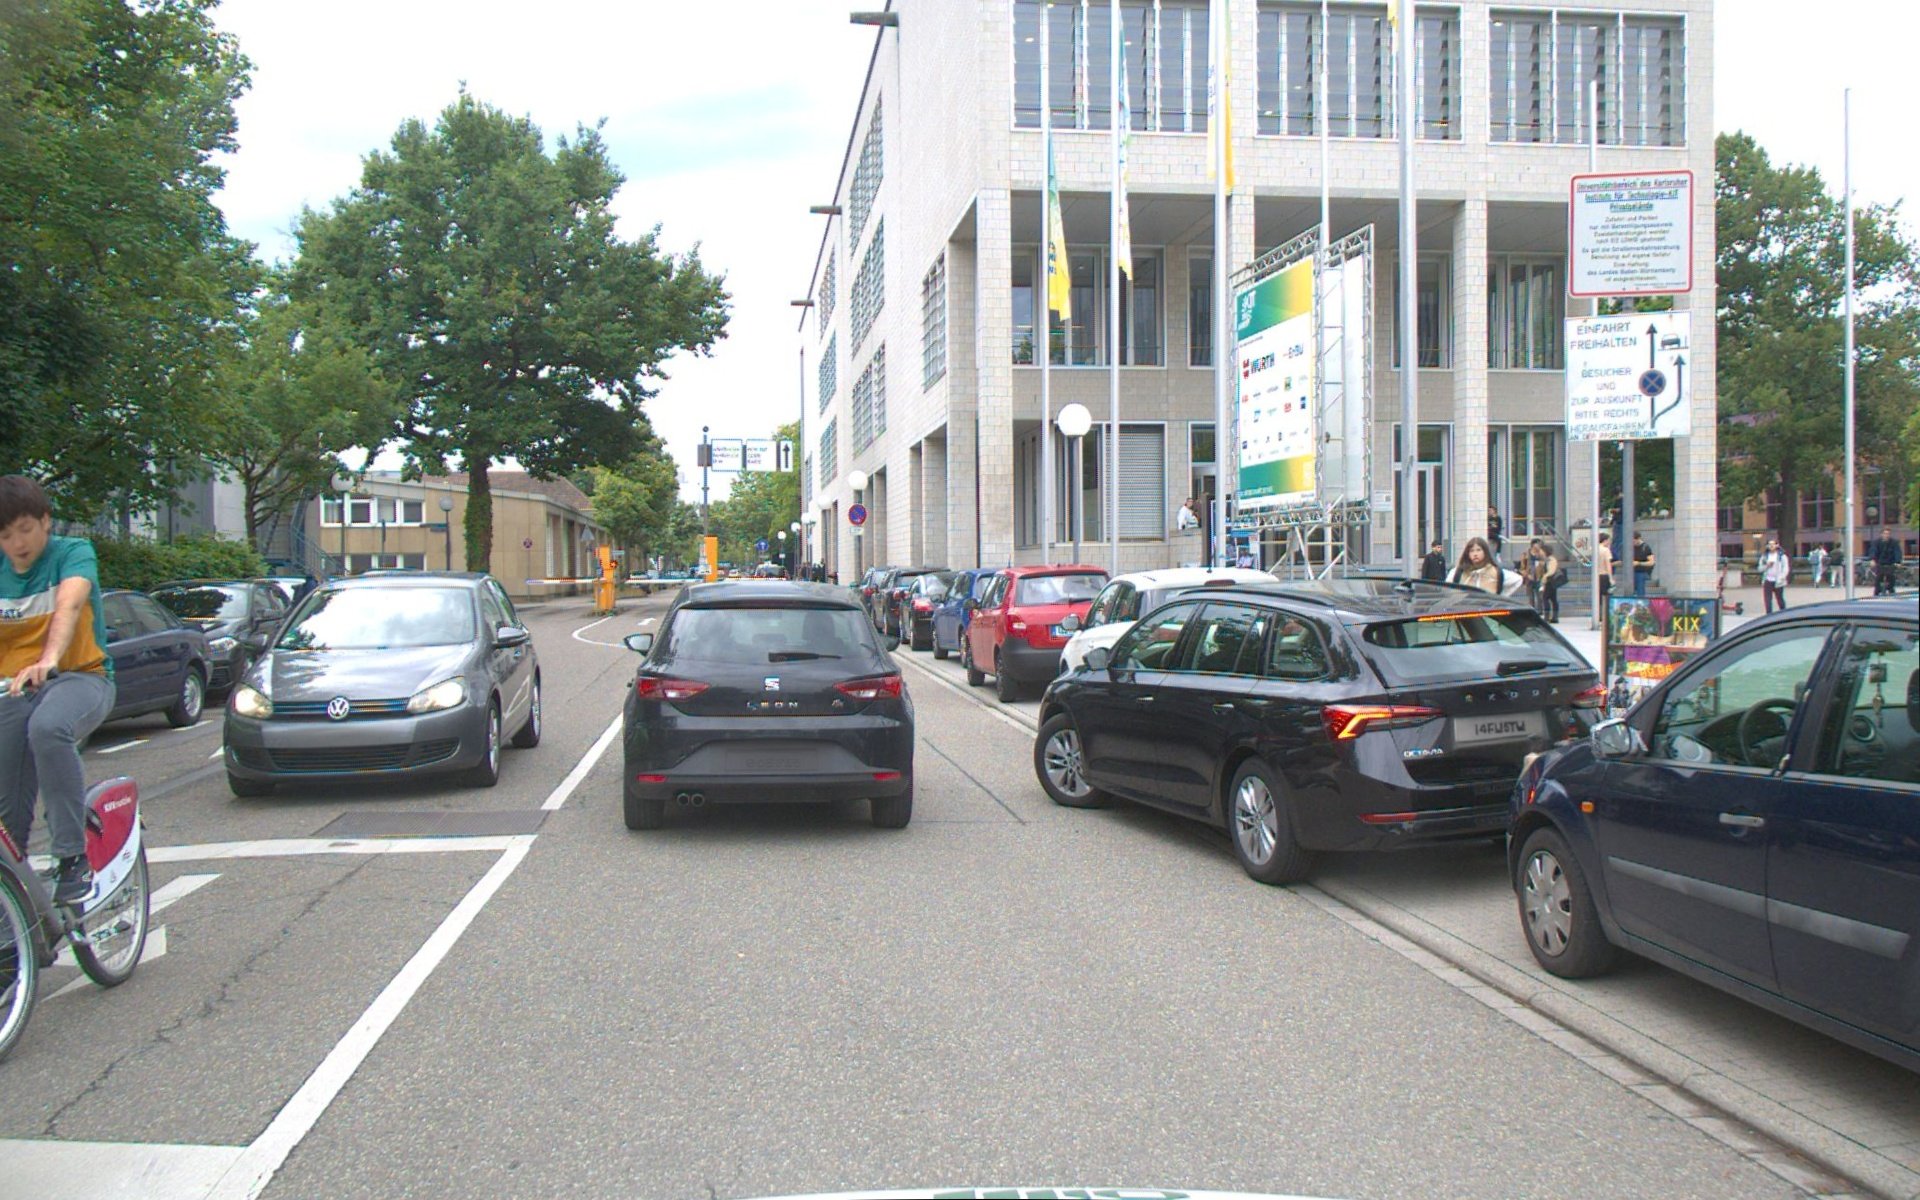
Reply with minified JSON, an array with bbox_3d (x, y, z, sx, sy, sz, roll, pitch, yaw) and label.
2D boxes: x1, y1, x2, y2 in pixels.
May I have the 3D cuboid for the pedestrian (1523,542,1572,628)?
[{"bbox_3d":[12.107,-0.316,34.075,0.762,1.745,0.602,0,0,-7],"label":"pedestrian"}]

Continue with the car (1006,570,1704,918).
[{"bbox_3d":[1.937,0.587,9.662,1.833,1.426,4.454,-3,2,-19],"label":"car"}]

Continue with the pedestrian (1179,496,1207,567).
[{"bbox_3d":[5.627,-1.665,39.996,0.616,1.687,0.808,1,3,8],"label":"pedestrian"}]

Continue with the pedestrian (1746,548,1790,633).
[{"bbox_3d":[16.522,-0.204,33.819,0.720,1.669,0.931,3,3,27],"label":"pedestrian"}]

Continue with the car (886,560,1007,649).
[{"bbox_3d":[-0.332,0.022,31.189,1.813,1.467,4.413,0,3,-7],"label":"car"}]

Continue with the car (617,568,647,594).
[{"bbox_3d":[-21.010,-1.220,106.102,1.737,1.629,3.992,0,1,-9],"label":"car"}]

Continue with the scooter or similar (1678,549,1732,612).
[{"bbox_3d":[16.772,-0.445,37.218,1.475,1.393,0.400,-1,4,-36],"label":"scooter or similar"}]

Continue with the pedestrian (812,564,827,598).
[{"bbox_3d":[-7.360,-1.001,86.542,0.715,1.728,0.586,0,3,-14],"label":"pedestrian"}]

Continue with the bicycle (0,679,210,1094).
[{"bbox_3d":[-3.116,0.853,5.411,0.644,1.055,1.855,-1,1,-7],"label":"bicycle"}]

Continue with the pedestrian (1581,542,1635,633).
[{"bbox_3d":[13.143,-0.257,33.563,0.709,1.816,0.732,0,0,-22],"label":"pedestrian"}]

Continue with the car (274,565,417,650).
[{"bbox_3d":[-11.259,0.086,30.566,1.731,1.436,4.000,0,2,-9],"label":"car"}]

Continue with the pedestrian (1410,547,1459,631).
[{"bbox_3d":[9.733,-0.229,33.925,0.741,1.699,0.704,0,0,-7],"label":"pedestrian"}]

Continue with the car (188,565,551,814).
[{"bbox_3d":[-4.214,0.522,12.477,1.750,1.523,4.160,-1,1,-8],"label":"car"}]

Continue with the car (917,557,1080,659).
[{"bbox_3d":[0.513,0.080,26.088,1.665,1.436,4.365,-1,1,-11],"label":"car"}]

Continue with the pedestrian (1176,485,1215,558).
[{"bbox_3d":[5.561,-1.865,39.060,0.787,1.687,0.632,2,3,17],"label":"pedestrian"}]

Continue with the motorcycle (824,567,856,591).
[{"bbox_3d":[-6.317,-1.128,87.230,0.743,1.168,2.665,2,3,16],"label":"motorcycle"}]

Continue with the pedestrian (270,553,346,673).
[{"bbox_3d":[-9.474,0.177,24.062,0.724,1.690,0.967,-1,2,-4],"label":"pedestrian"}]

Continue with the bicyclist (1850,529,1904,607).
[{"bbox_3d":[19.876,-0.693,35.858,0.855,1.669,0.868,0,1,17],"label":"bicyclist"}]

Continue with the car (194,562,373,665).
[{"bbox_3d":[-10.670,0.173,26.371,1.729,1.497,3.818,-1,1,-8],"label":"car"}]

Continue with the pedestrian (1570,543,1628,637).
[{"bbox_3d":[12.504,-0.204,32.369,0.751,1.816,0.732,0,0,-22],"label":"pedestrian"}]

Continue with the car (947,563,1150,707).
[{"bbox_3d":[0.973,0.338,20.455,1.680,1.498,4.266,-3,2,-8],"label":"car"}]

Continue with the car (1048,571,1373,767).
[{"bbox_3d":[2.047,0.491,14.633,1.826,1.478,3.852,0,1,-8],"label":"car"}]

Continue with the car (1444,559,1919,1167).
[{"bbox_3d":[3.131,0.652,5.122,1.591,1.528,4.099,-2,1,-7],"label":"car"}]

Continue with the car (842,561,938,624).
[{"bbox_3d":[-1.842,-0.212,41.788,1.956,1.477,4.914,-1,1,-8],"label":"car"}]

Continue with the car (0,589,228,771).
[{"bbox_3d":[-8.567,0.643,15.483,1.762,1.432,4.333,-1,1,-4],"label":"car"}]

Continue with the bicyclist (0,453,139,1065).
[{"bbox_3d":[-3.118,0.467,5.317,0.646,1.810,0.980,-1,1,-15],"label":"bicyclist"}]

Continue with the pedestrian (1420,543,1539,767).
[{"bbox_3d":[4.341,0.441,13.861,0.774,1.818,0.822,0,0,4],"label":"pedestrian"}]

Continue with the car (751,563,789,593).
[{"bbox_3d":[-10.995,-1.255,95.482,1.957,1.651,4.419,-1,1,-9],"label":"car"}]

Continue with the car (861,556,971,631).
[{"bbox_3d":[-1.023,-0.182,36.020,1.784,1.468,4.511,-2,1,-9],"label":"car"}]

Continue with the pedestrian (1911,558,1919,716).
[{"bbox_3d":[11.574,0.445,19.299,0.628,1.839,0.648,2,3,19],"label":"pedestrian"}]

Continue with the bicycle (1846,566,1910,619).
[{"bbox_3d":[19.884,-0.180,35.874,0.855,1.112,1.802,0,2,17],"label":"bicycle"}]

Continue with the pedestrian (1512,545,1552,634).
[{"bbox_3d":[12.059,-0.223,34.898,0.579,1.873,0.619,0,0,-7],"label":"pedestrian"}]

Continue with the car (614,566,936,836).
[{"bbox_3d":[-1.312,0.503,11.081,1.749,1.444,4.121,0,1,-9],"label":"car"}]

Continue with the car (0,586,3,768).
[{"bbox_3d":[-8.098,0.596,10.638,1.763,1.495,4.243,-1,1,-6],"label":"car"}]

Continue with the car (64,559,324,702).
[{"bbox_3d":[-9.640,0.286,21.222,1.764,1.588,4.523,-1,2,-8],"label":"car"}]

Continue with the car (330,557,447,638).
[{"bbox_3d":[-12.187,-0.090,35.493,1.684,1.613,3.870,0,2,-9],"label":"car"}]

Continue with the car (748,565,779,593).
[{"bbox_3d":[-13.338,-1.464,112.131,1.956,1.813,4.420,-2,1,-8],"label":"car"}]

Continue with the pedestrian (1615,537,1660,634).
[{"bbox_3d":[13.389,-0.287,32.686,0.592,1.897,0.775,-1,1,40],"label":"pedestrian"}]
